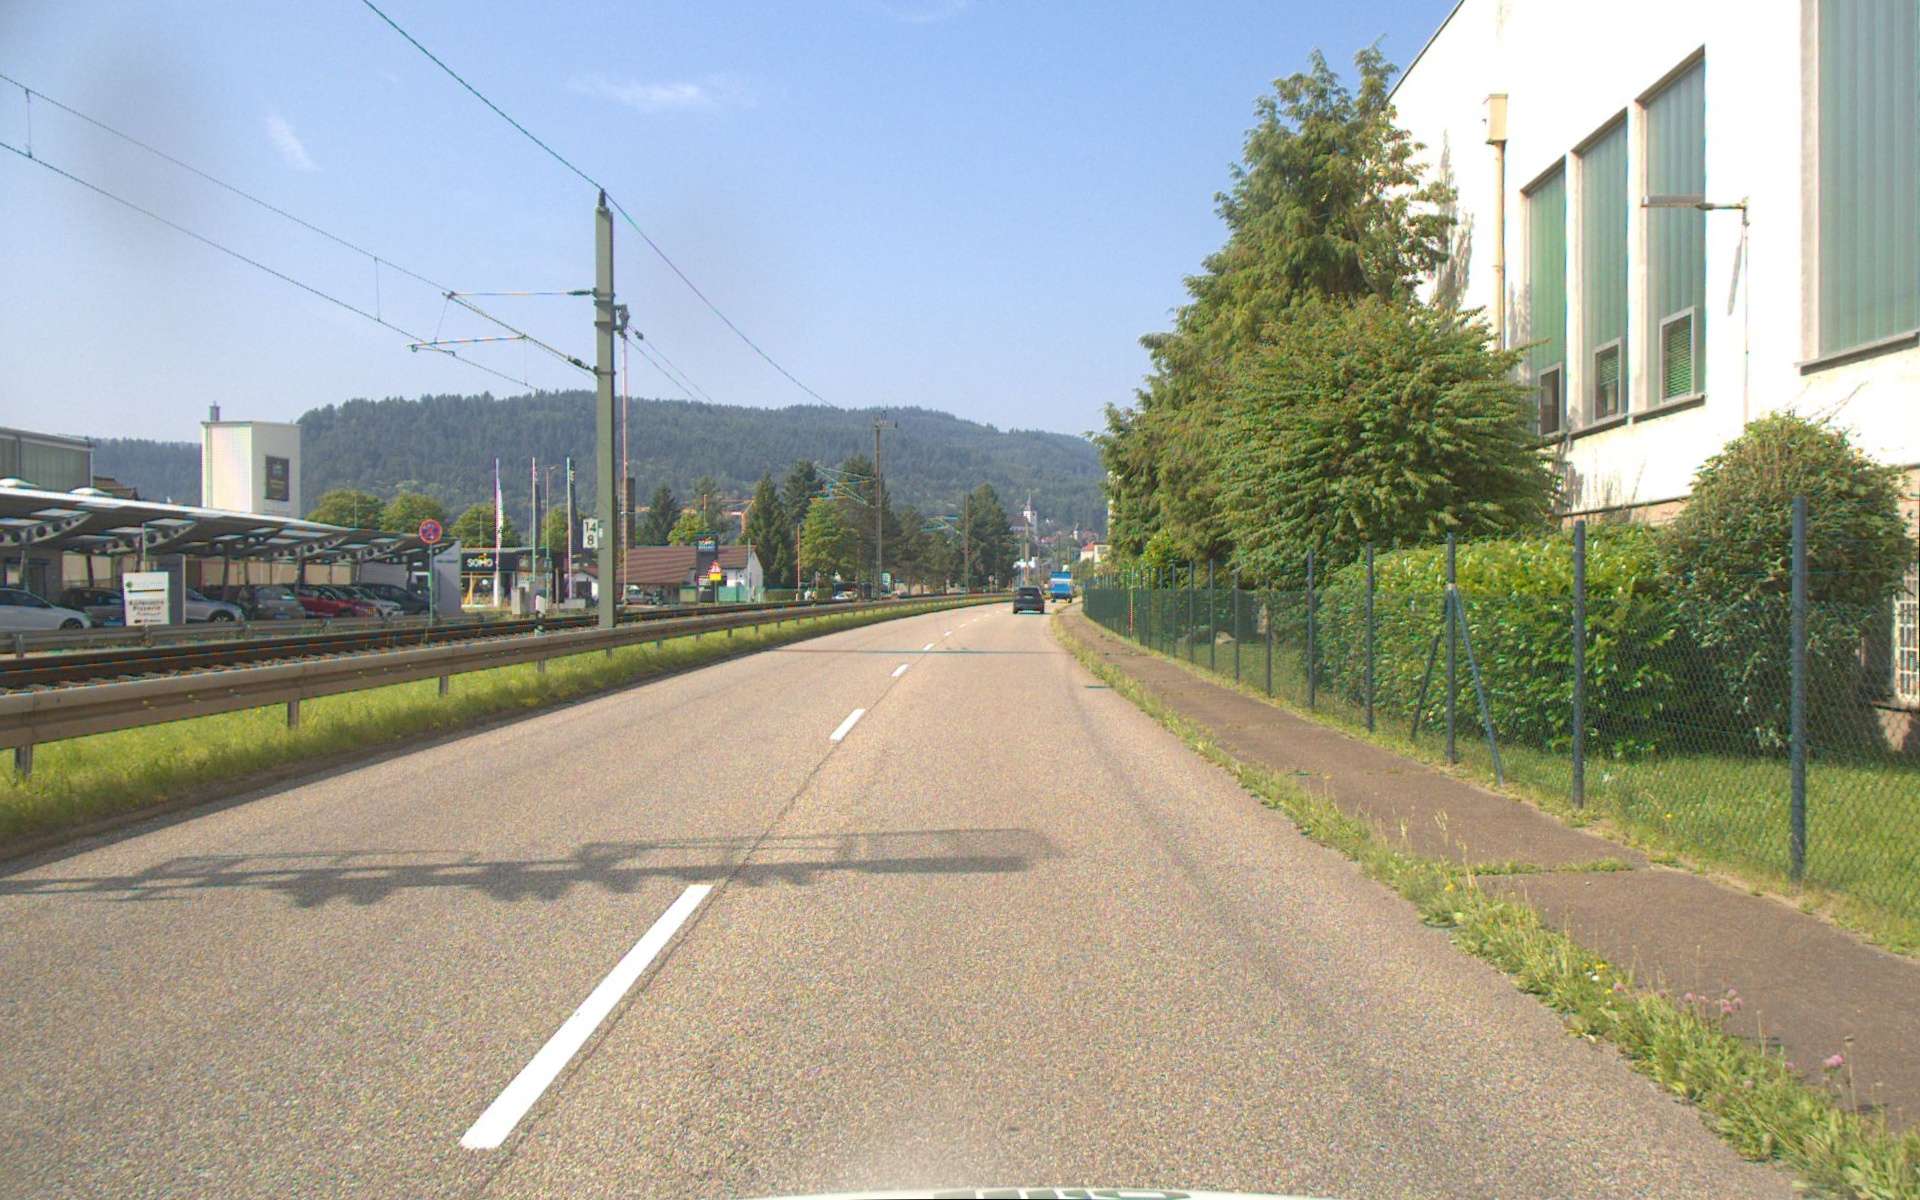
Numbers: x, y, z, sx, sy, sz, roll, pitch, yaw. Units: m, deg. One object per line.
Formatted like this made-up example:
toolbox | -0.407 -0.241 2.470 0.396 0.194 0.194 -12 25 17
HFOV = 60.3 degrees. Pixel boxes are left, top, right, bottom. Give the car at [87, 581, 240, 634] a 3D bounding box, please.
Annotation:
car | -26.294 0.270 54.642 4.228 1.554 1.822 2 0 -39

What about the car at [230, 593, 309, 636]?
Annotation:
car | -25.799 0.511 61.764 1.826 1.531 4.379 0 0 -35

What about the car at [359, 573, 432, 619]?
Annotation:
car | -35.037 -0.191 102.841 2.324 2.679 6.160 0 -1 1

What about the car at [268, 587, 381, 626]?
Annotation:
car | -25.413 0.263 66.215 3.875 1.348 1.502 3 0 0

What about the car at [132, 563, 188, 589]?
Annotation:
car | -42.084 -1.238 87.065 1.424 1.321 3.484 0 1 -5

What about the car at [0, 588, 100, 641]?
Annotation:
car | -25.760 0.375 44.372 1.808 1.410 4.513 0 0 31

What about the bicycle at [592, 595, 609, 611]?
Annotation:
bicycle | -26.213 0.203 120.555 0.712 1.150 2.175 0 0 2

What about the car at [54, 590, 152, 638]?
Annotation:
car | -25.737 0.383 49.629 1.829 1.366 4.149 0 0 -39

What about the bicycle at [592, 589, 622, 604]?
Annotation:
bicycle | -26.374 -0.271 123.445 2.126 1.150 0.729 0 0 -7

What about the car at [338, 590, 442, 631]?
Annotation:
car | -25.250 0.460 73.320 1.635 1.650 4.003 3 0 44

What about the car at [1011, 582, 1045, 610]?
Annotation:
car | 4.091 -0.234 99.207 1.879 1.668 4.002 0 0 5

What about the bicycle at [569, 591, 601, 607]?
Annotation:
bicycle | -26.592 -0.059 117.254 0.716 1.150 2.312 -1 0 37

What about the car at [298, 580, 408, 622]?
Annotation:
car | -25.232 0.035 68.837 3.875 1.554 1.663 3 0 0

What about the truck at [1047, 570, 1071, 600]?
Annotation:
truck | 10.252 -1.559 170.916 2.263 3.022 5.970 0 1 6

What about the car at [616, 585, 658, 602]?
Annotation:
car | -32.093 -0.622 164.411 3.754 1.680 1.714 -1 0 6
